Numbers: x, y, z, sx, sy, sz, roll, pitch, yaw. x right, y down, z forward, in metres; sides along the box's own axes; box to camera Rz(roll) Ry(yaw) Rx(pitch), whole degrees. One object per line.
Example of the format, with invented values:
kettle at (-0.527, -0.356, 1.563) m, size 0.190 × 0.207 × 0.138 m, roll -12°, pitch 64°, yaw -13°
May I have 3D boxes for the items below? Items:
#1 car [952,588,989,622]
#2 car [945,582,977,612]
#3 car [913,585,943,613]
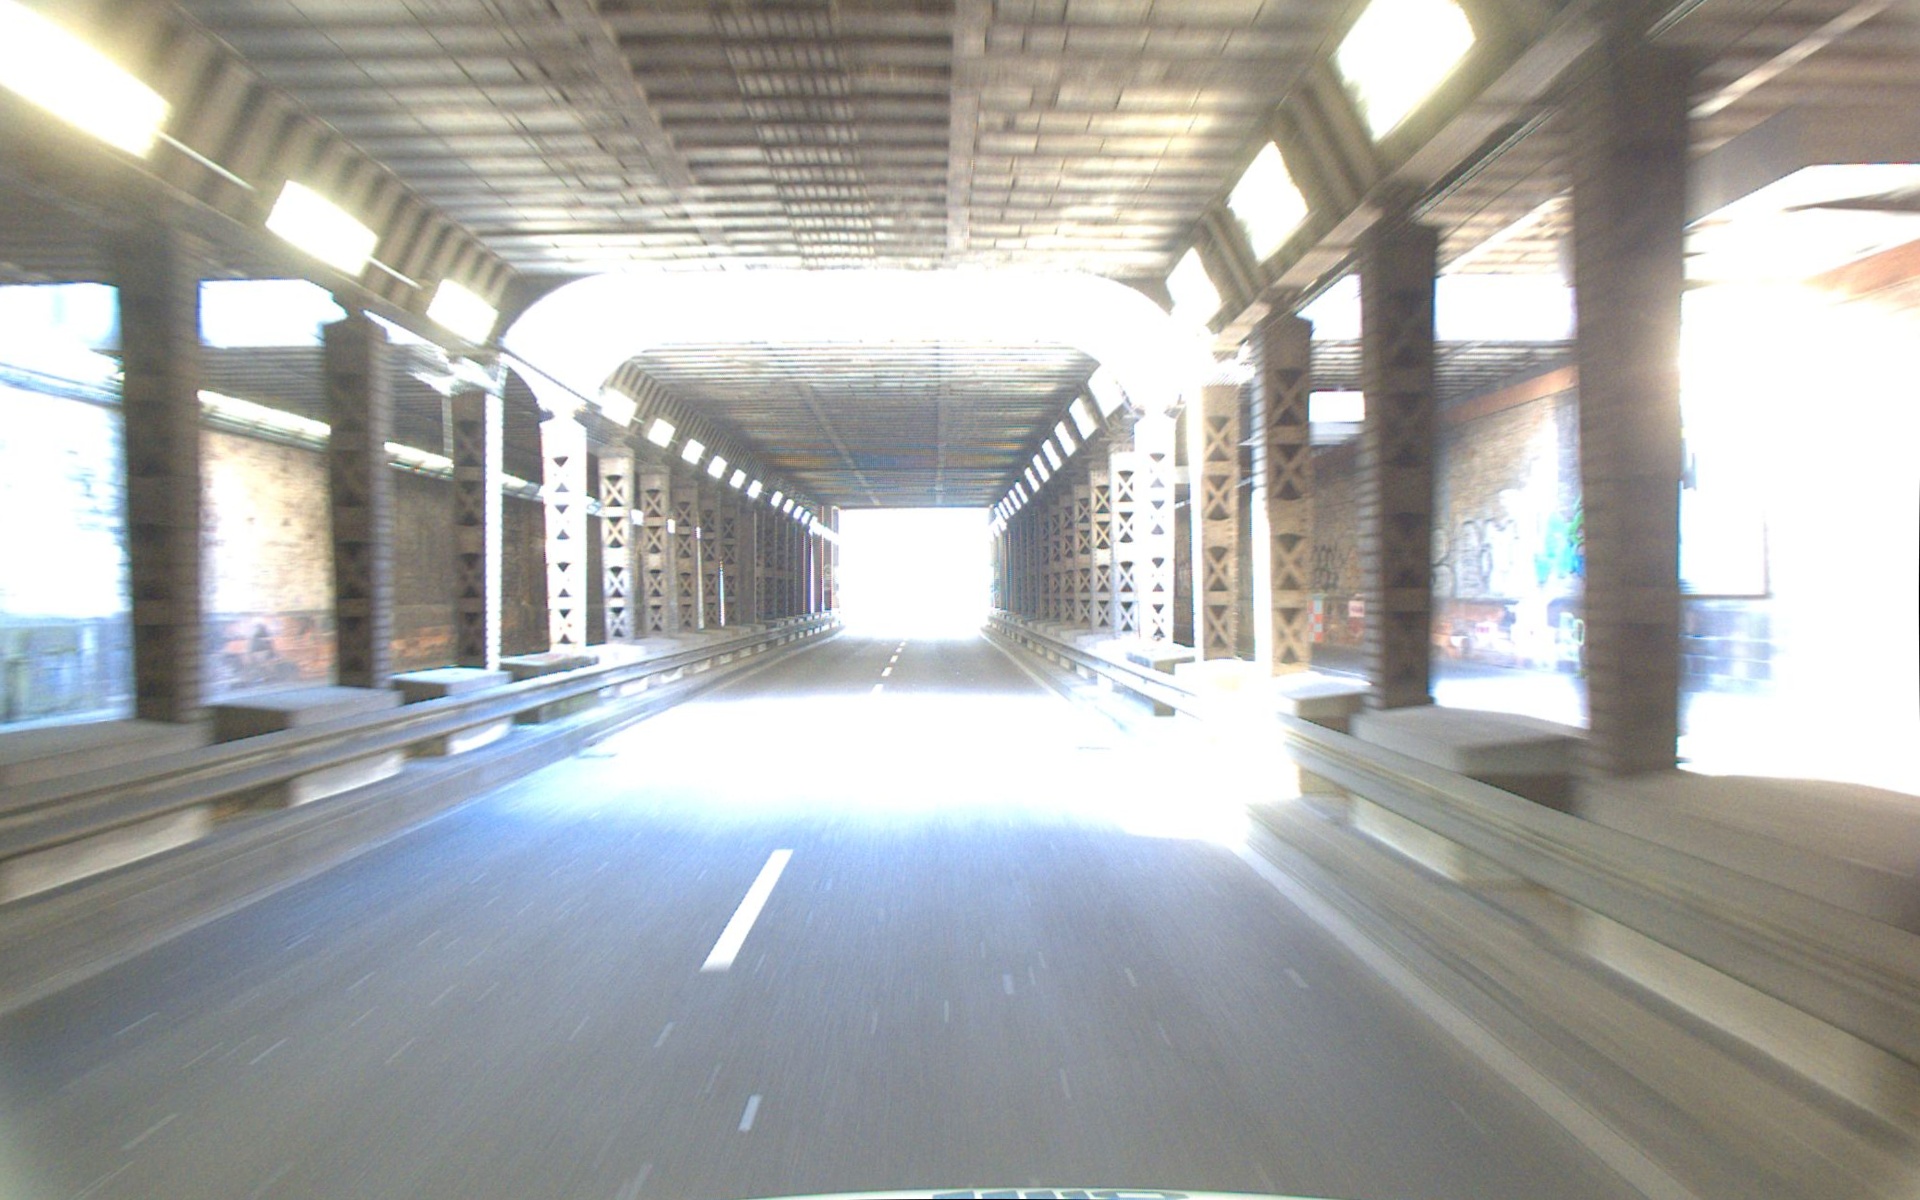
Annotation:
car at (0.559, 0.255, 93.303) m, size 1.953 × 1.815 × 3.999 m, roll -1°, pitch 0°, yaw -1°
car at (0.034, -0.180, 103.631) m, size 1.953 × 1.815 × 3.999 m, roll -1°, pitch 0°, yaw -1°
car at (-2.129, -0.063, 111.119) m, size 1.953 × 1.815 × 3.999 m, roll -1°, pitch 0°, yaw -1°
